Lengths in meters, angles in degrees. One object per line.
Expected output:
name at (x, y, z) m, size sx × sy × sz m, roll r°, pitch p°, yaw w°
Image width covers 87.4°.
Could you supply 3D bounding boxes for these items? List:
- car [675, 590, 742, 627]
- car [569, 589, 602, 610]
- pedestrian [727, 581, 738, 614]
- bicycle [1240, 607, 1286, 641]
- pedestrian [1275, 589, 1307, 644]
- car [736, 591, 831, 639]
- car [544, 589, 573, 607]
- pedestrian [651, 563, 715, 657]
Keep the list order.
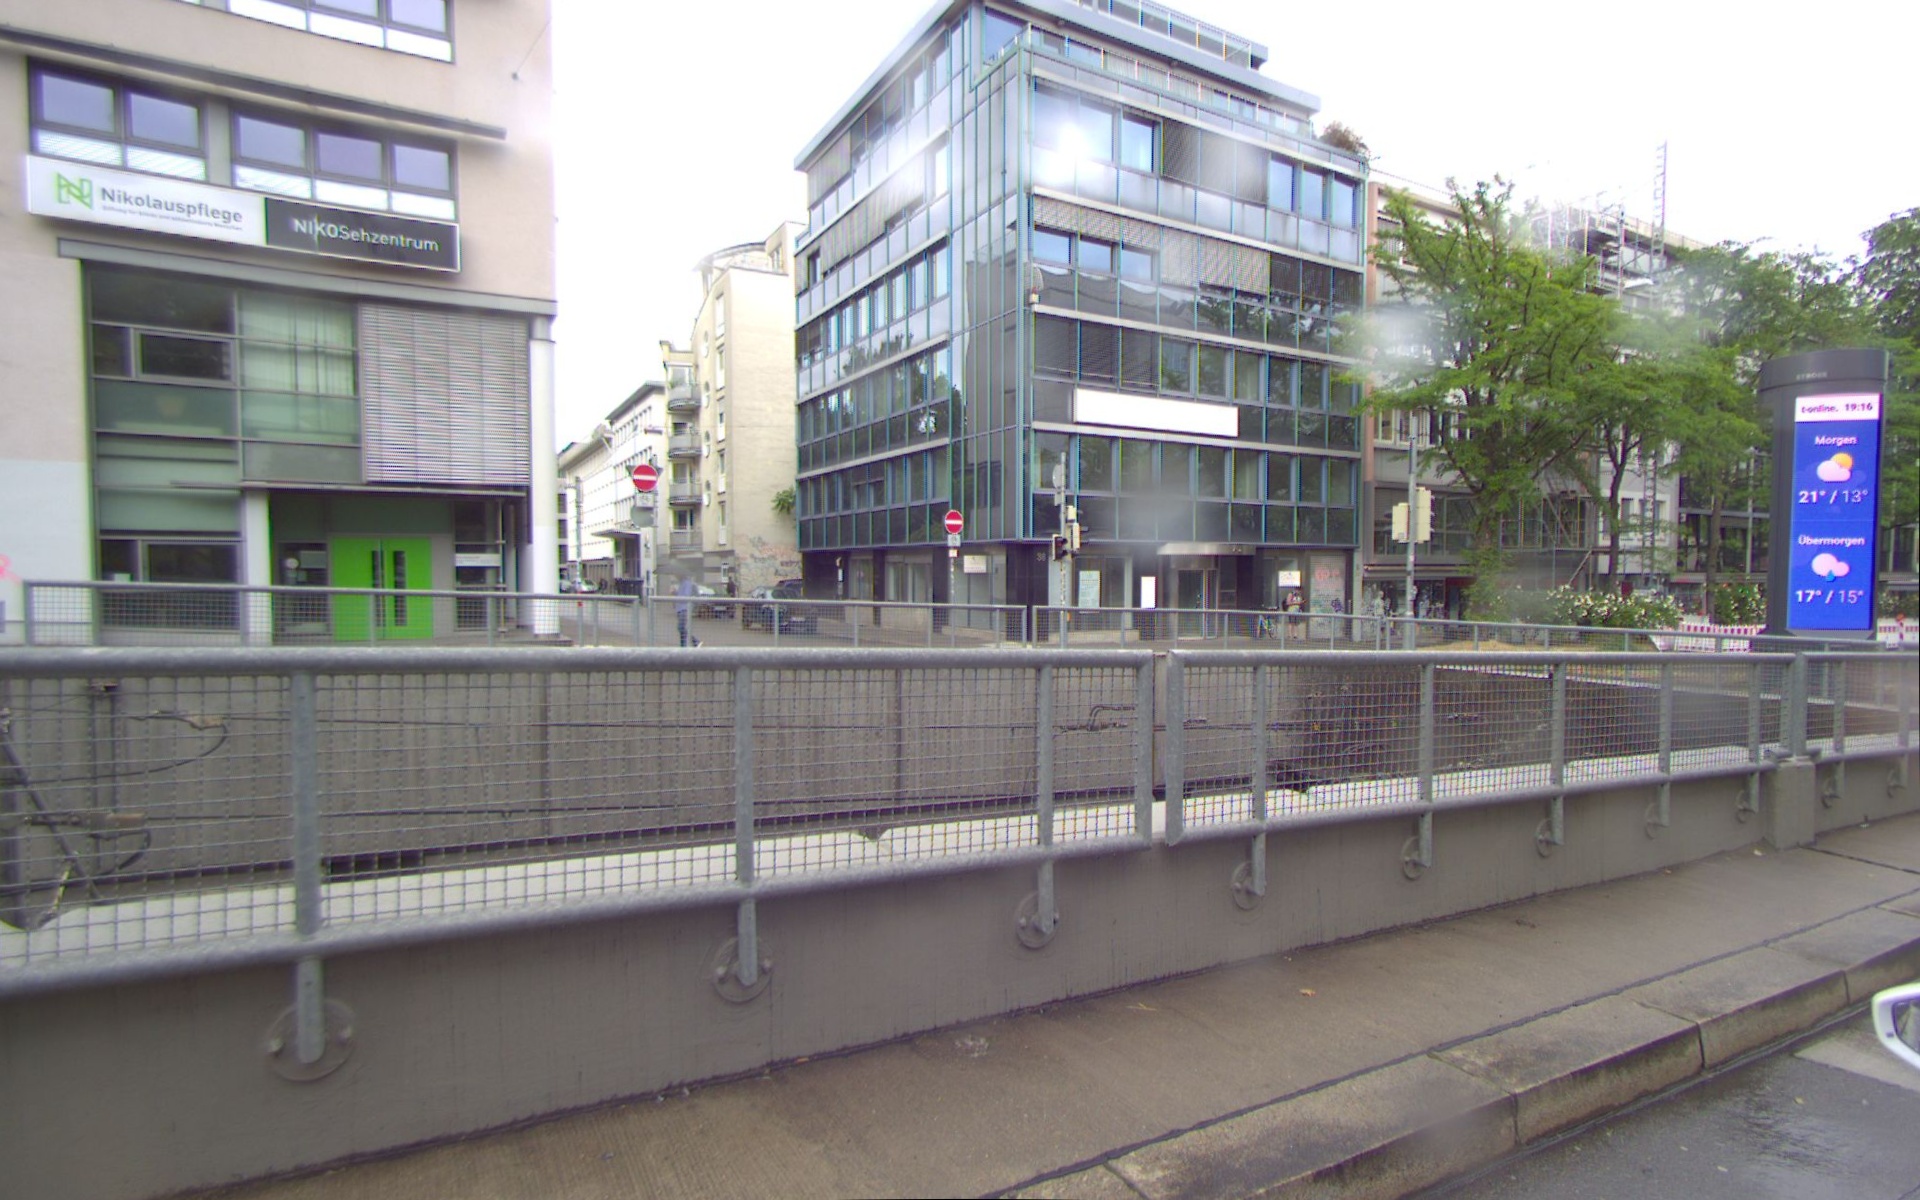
car at (-11.099, 0.349, 44.110) m, size 1.777 × 1.578 × 3.966 m, roll 1°, pitch 0°, yaw -31°
car at (-29.412, -0.056, 78.781) m, size 1.777 × 1.578 × 3.967 m, roll 1°, pitch 0°, yaw -30°
pedestrian at (-11.659, -0.146, 51.530) m, size 0.443 × 1.664 × 0.326 m, roll 1°, pitch 2°, yaw -35°
bicycle at (9.876, 0.783, 32.725) m, size 1.544 × 1.100 × 0.444 m, roll 1°, pitch 1°, yaw -27°
pedestrian at (10.956, 0.542, 33.232) m, size 0.688 × 1.765 × 0.691 m, roll 1°, pitch 2°, yaw -36°
car at (-6.234, 0.492, 35.172) m, size 1.977 × 1.578 × 3.966 m, roll 1°, pitch 0°, yaw -31°
car at (-35.036, -0.190, 87.637) m, size 1.777 × 1.578 × 3.967 m, roll 1°, pitch 0°, yaw -30°
pedestrian at (-5.699, 0.194, 20.654) m, size 1.047 × 1.863 × 0.853 m, roll 1°, pitch 2°, yaw -30°
